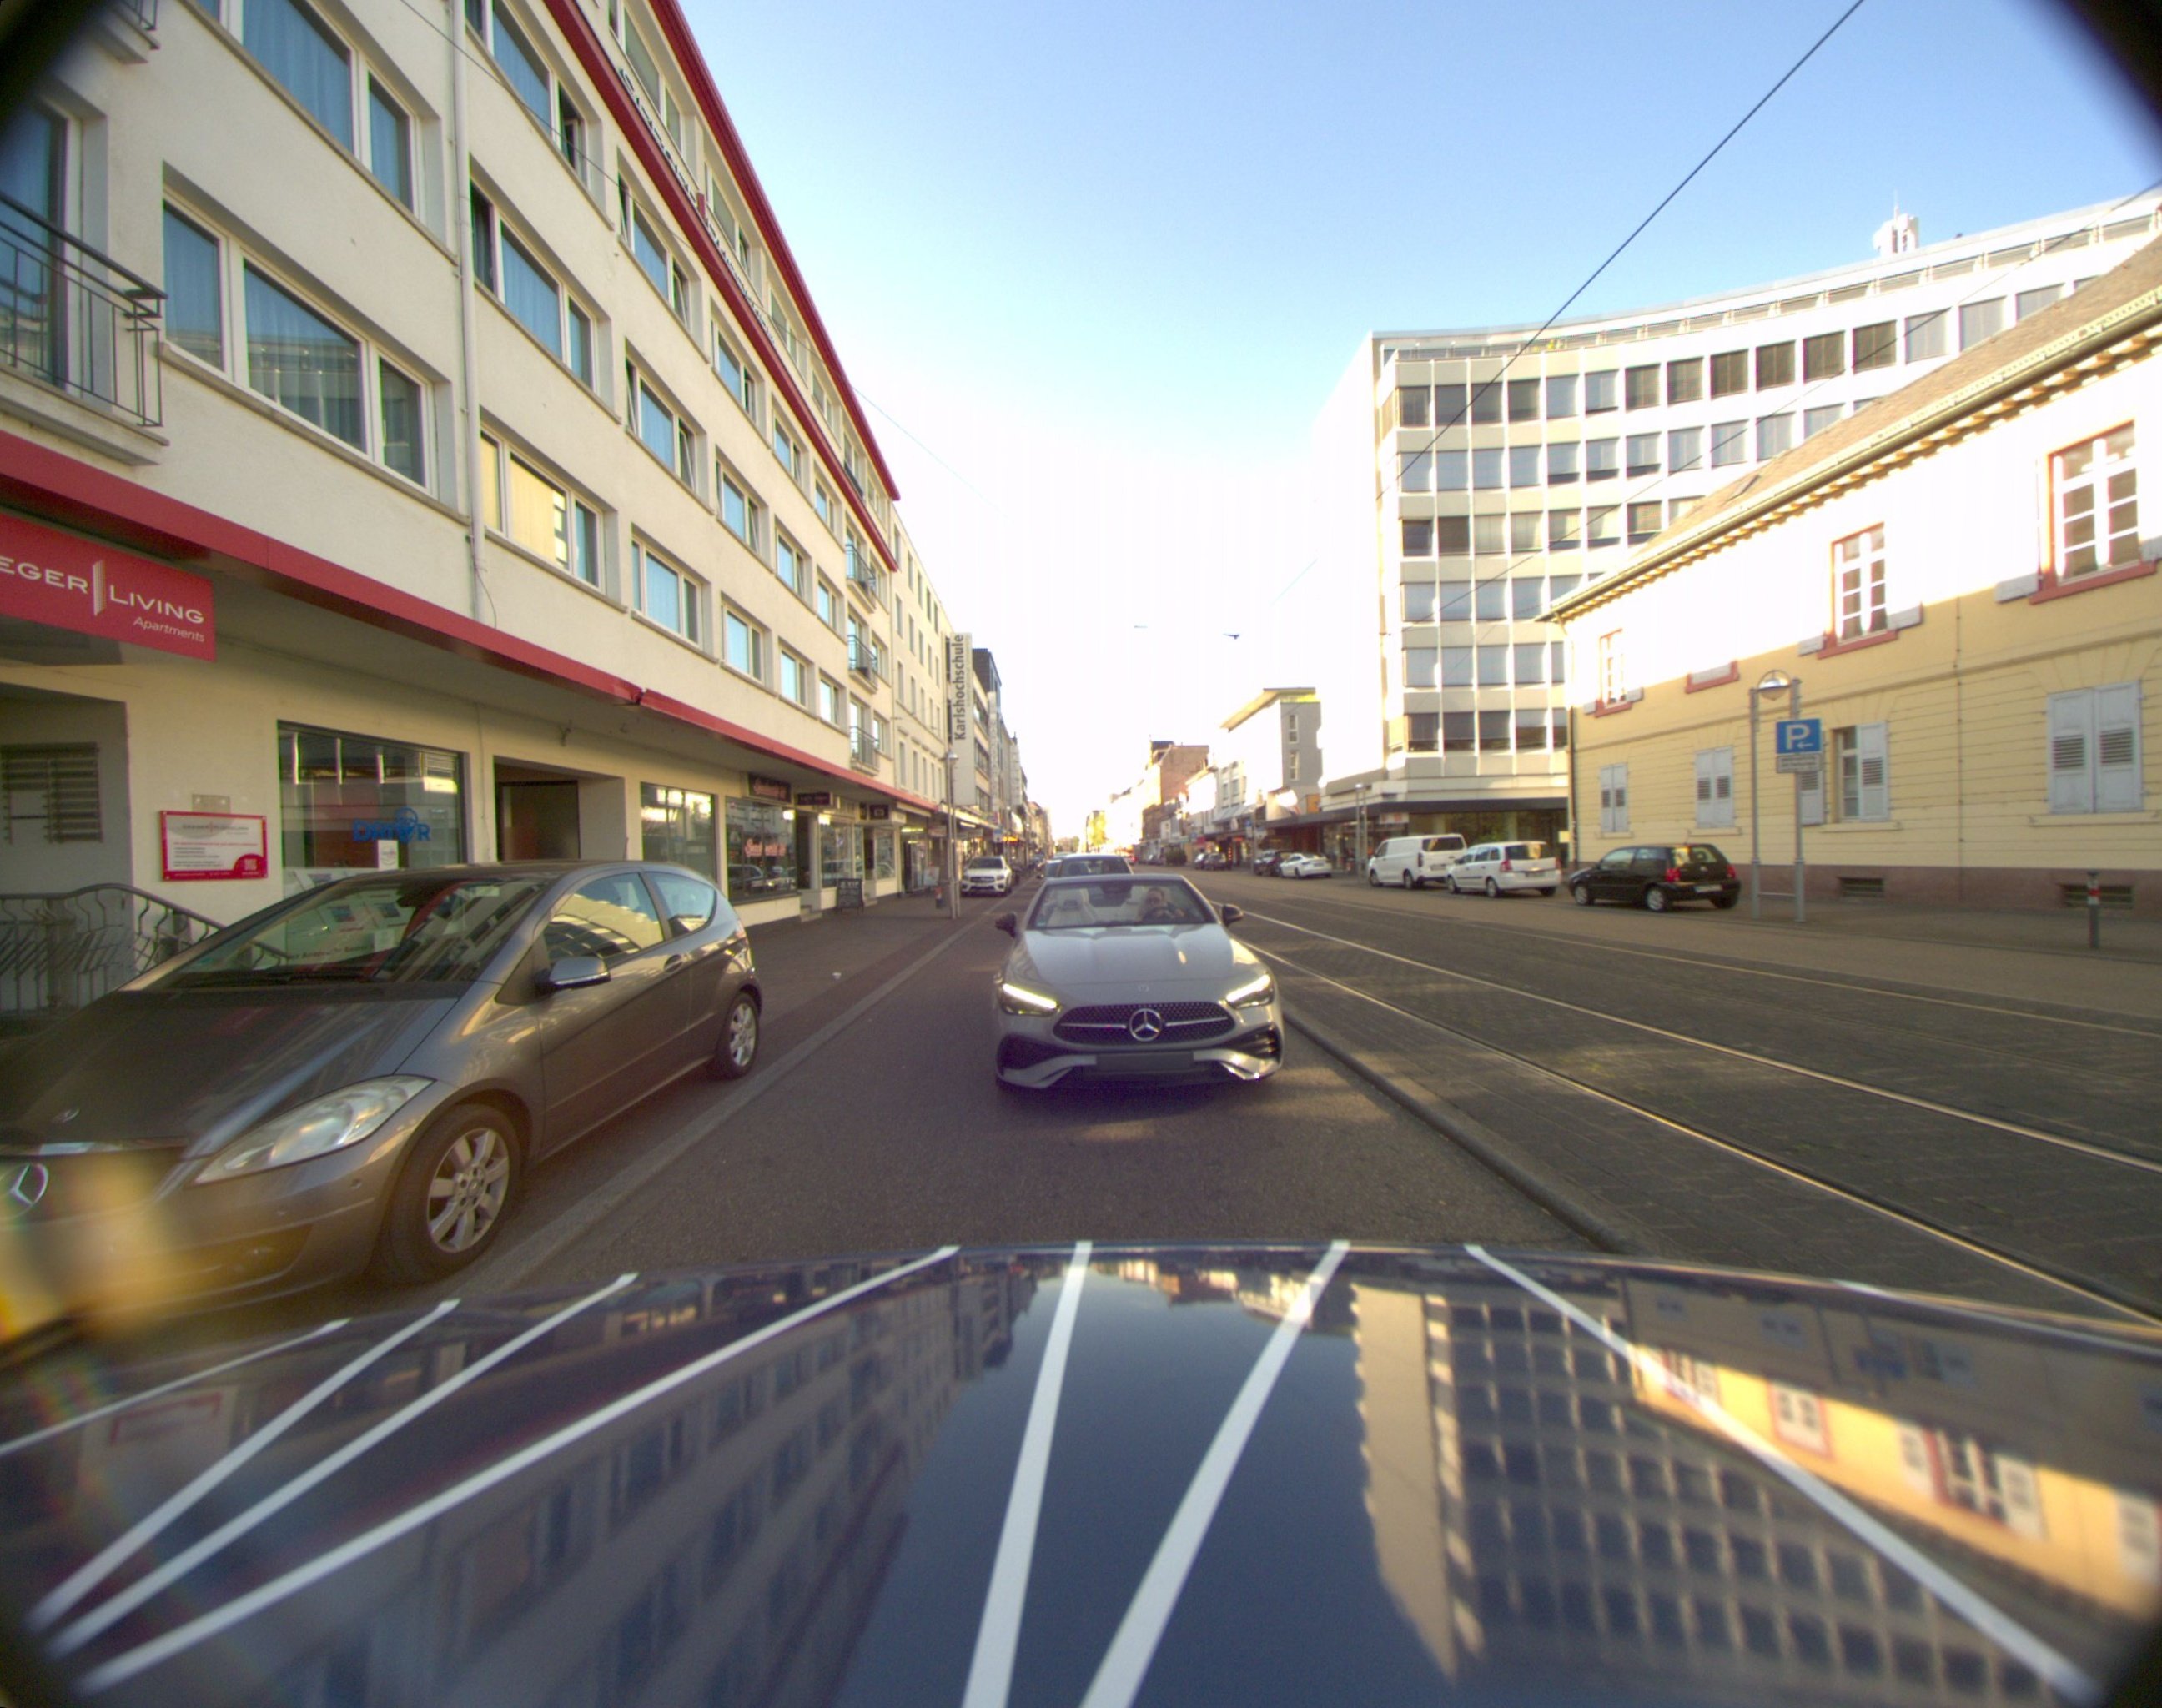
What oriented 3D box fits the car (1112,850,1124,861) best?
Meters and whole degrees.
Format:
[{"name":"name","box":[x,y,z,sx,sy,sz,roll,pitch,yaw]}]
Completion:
[{"name":"car","box":[7.412,0.297,151.260,1.999,2.002,3.998,-2,1,-2]}]

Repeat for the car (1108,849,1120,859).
[{"name":"car","box":[6.250,-0.048,143.950,1.914,1.883,3.855,-2,1,-2]}]

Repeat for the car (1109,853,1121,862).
[{"name":"car","box":[6.052,0.660,135.636,1.964,1.499,4.000,-2,1,4]}]

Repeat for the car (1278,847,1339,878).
[{"name":"car","box":[12.569,0.419,42.255,1.999,1.521,4.373,-2,1,-1]}]

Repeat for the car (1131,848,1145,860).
[{"name":"car","box":[10.063,0.026,134.624,1.999,2.002,3.999,-1,0,-3]}]

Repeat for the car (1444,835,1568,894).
[{"name":"car","box":[12.800,0.264,23.175,1.641,1.600,4.005,-2,1,3]}]

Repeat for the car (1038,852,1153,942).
[{"name":"car","box":[0.151,0.772,15.587,1.927,1.533,3.998,-2,0,-4]}]

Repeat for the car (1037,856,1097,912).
[{"name":"car","box":[-0.431,0.860,23.506,1.648,1.506,3.844,-2,0,-1]}]

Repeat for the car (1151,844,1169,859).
[{"name":"car","box":[11.534,-0.355,111.511,1.999,2.002,3.998,-2,1,-2]}]

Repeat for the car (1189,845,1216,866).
[{"name":"car","box":[11.819,0.139,74.160,1.789,1.870,3.999,-1,0,-2]}]

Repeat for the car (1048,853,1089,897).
[{"name":"car","box":[-0.551,0.823,31.958,1.573,1.670,3.688,-2,1,-1]}]

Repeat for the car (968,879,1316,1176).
[{"name":"car","box":[0.209,1.010,6.182,1.884,1.375,3.998,-2,1,-4]}]

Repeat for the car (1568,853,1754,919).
[{"name":"car","box":[12.914,0.658,17.163,1.688,1.246,3.212,-2,1,-1]}]

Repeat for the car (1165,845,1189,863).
[{"name":"car","box":[11.395,0.016,90.493,2.200,2.030,3.999,-1,0,-1]}]

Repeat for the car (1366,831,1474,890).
[{"name":"car","box":[12.682,0.228,28.790,2.040,2.002,4.621,-1,0,1]}]

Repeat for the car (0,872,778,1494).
[{"name":"car","box":[-3.220,0.935,3.984,1.683,1.537,3.999,-2,0,-1]}]

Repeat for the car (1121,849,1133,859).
[{"name":"car","box":[9.552,-0.010,157.274,1.999,2.002,3.999,-1,0,-2]}]

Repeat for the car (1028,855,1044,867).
[{"name":"car","box":[-5.563,0.838,94.364,1.714,1.430,3.756,-2,1,-1]}]

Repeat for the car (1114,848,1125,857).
[{"name":"car","box":[9.004,-0.404,176.428,2.148,1.850,3.998,-2,1,-2]}]

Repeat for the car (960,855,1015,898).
[{"name":"car","box":[-3.846,0.887,31.721,1.999,1.620,3.998,-1,0,-4]}]

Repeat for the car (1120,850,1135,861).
[{"name":"car","box":[6.833,0.194,111.483,1.760,1.587,3.999,-1,0,-2]}]

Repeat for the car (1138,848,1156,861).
[{"name":"car","box":[10.293,0.053,119.489,1.999,2.002,5.319,-1,0,-4]}]

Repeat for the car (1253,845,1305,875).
[{"name":"car","box":[12.332,0.358,47.692,1.999,1.694,4.107,-3,1,-2]}]

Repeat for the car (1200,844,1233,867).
[{"name":"car","box":[11.645,0.069,65.513,1.999,1.849,3.998,-2,1,-2]}]

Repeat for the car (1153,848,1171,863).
[{"name":"car","box":[10.726,0.192,100.871,1.998,2.002,4.000,-1,0,1]}]

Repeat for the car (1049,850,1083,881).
[{"name":"car","box":[-0.927,0.662,47.840,1.999,1.793,3.999,-2,1,-1]}]
